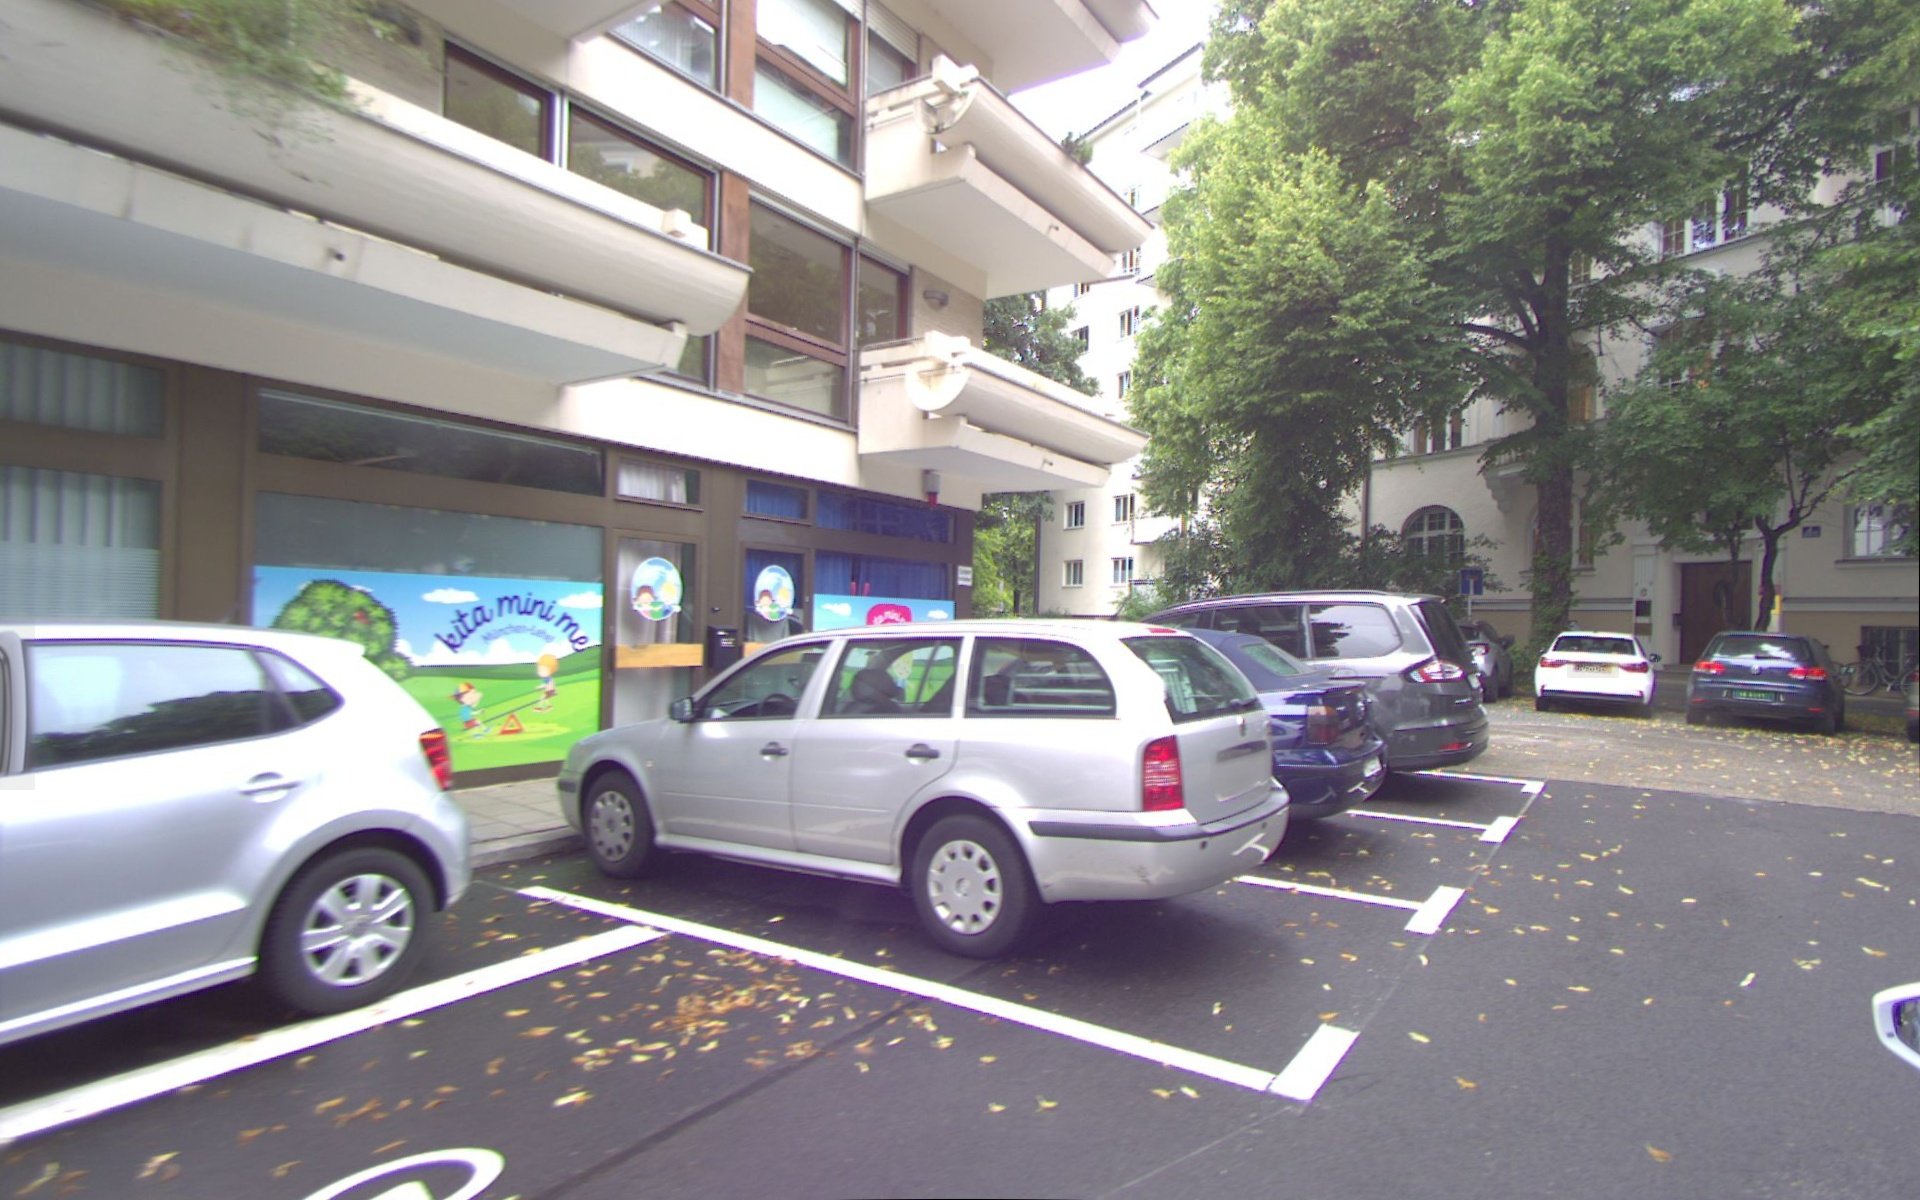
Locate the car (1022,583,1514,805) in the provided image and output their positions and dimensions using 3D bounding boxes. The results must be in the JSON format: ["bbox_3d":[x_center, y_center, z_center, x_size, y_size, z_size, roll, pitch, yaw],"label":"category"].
[{"bbox_3d":[2.877,0.794,9.655,4.161,1.706,1.898,-2,-2,33],"label":"car"}]

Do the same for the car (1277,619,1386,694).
[{"bbox_3d":[8.149,1.167,22.153,2.022,1.420,4.000,2,0,20],"label":"car"}]

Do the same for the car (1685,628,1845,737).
[{"bbox_3d":[12.884,1.205,16.035,1.770,1.450,3.980,2,0,41],"label":"car"}]

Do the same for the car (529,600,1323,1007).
[{"bbox_3d":[-0.375,0.825,5.539,4.171,1.474,1.716,-2,-2,34],"label":"car"}]

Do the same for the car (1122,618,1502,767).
[{"bbox_3d":[4.115,1.021,11.932,3.932,1.498,1.831,-2,-3,33],"label":"car"}]

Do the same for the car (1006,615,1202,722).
[{"bbox_3d":[2.585,1.152,17.762,3.232,1.653,1.511,2,0,15],"label":"car"}]

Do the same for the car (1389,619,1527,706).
[{"bbox_3d":[10.283,1.207,20.588,1.845,1.530,3.986,2,0,36],"label":"car"}]

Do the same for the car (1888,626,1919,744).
[{"bbox_3d":[14.722,1.197,13.933,3.983,1.550,1.827,2,0,-34],"label":"car"}]

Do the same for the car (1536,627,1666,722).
[{"bbox_3d":[11.625,1.238,18.114,1.696,1.450,3.986,2,0,36],"label":"car"}]

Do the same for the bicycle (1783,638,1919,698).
[{"bbox_3d":[19.234,1.430,21.672,0.569,1.130,2.220,2,0,-27],"label":"bicycle"}]

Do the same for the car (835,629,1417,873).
[{"bbox_3d":[1.135,0.935,7.600,4.004,1.385,1.713,-2,-2,34],"label":"car"}]

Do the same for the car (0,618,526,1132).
[{"bbox_3d":[-3.491,0.781,3.015,1.539,1.440,3.823,-1,-2,33],"label":"car"}]

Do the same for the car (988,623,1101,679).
[{"bbox_3d":[2.680,1.514,30.950,1.711,1.622,3.987,-1,-2,35],"label":"car"}]
